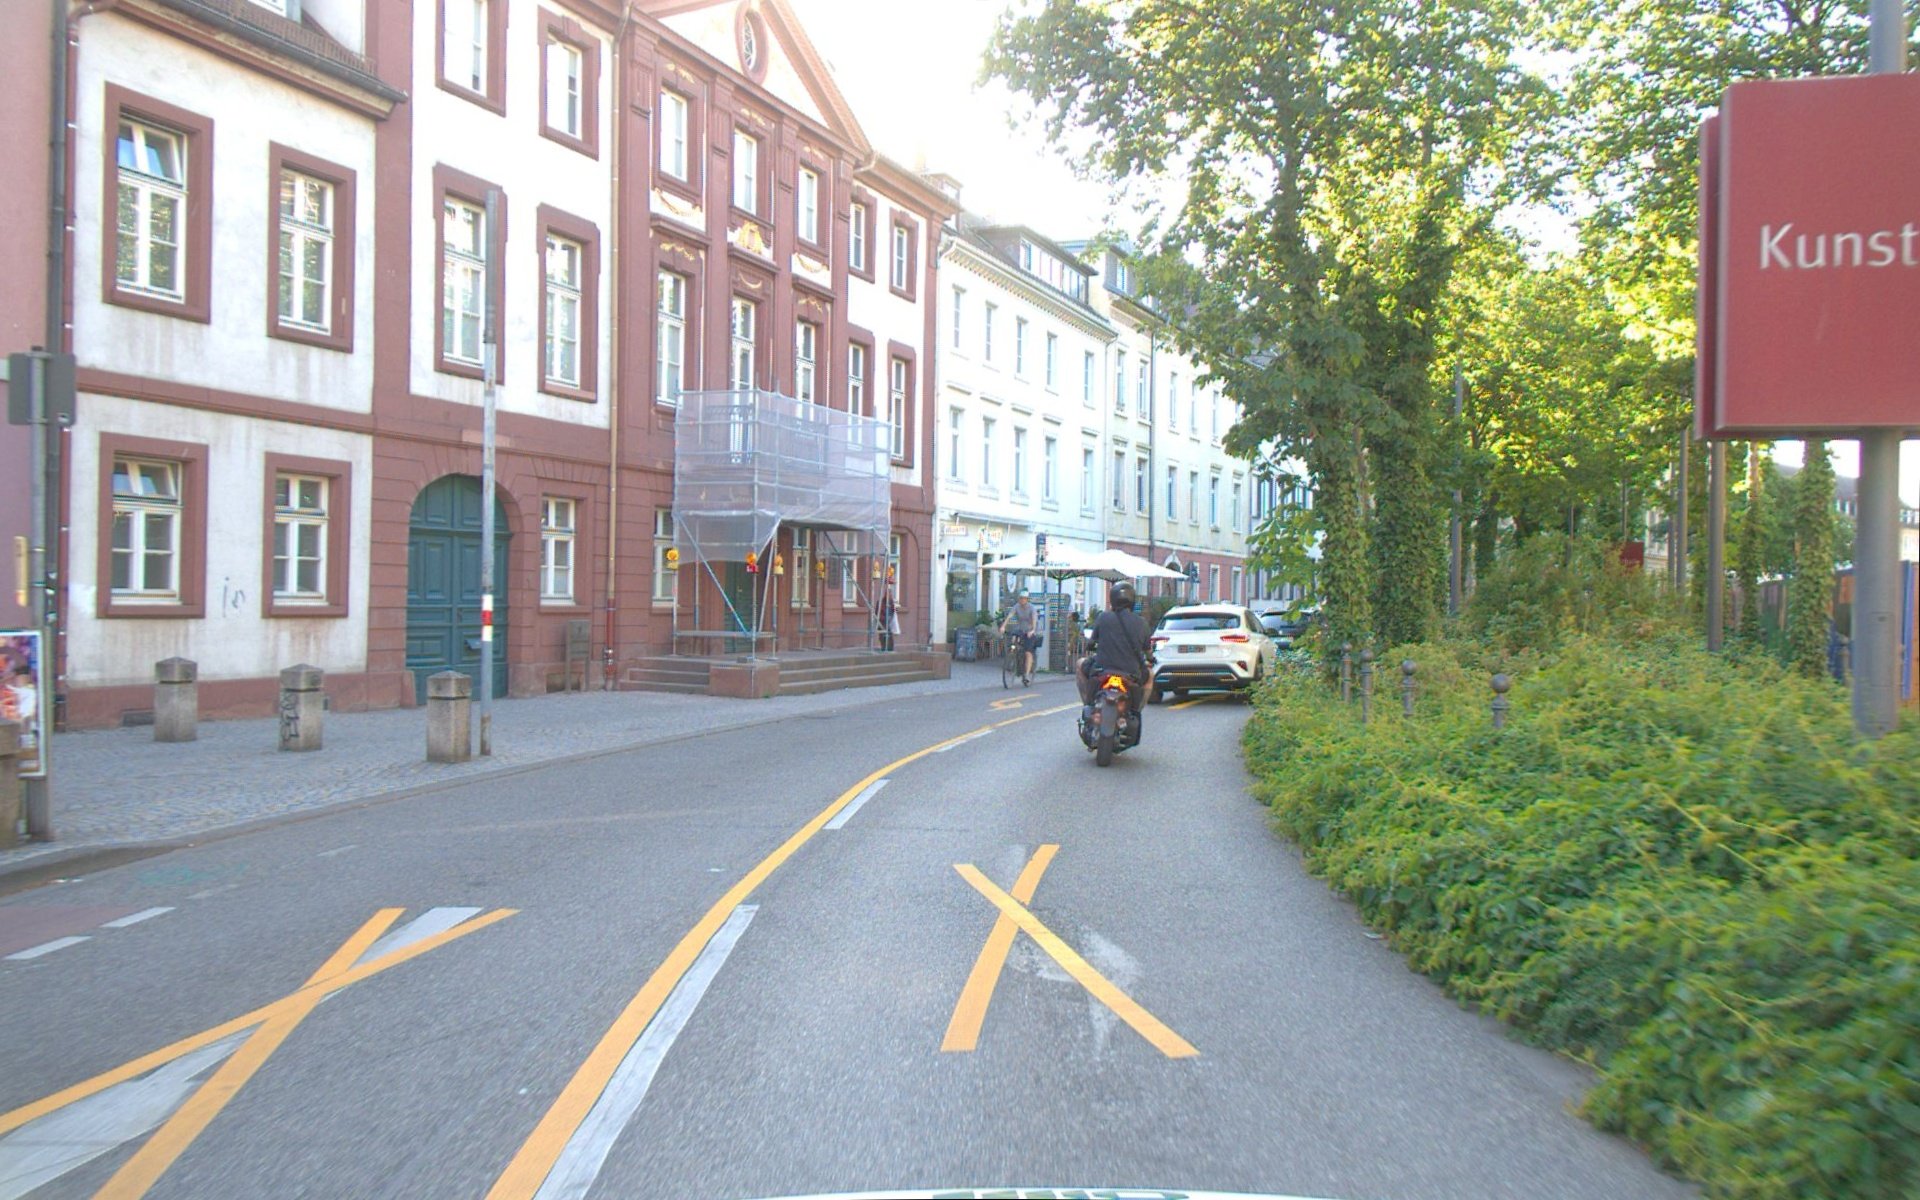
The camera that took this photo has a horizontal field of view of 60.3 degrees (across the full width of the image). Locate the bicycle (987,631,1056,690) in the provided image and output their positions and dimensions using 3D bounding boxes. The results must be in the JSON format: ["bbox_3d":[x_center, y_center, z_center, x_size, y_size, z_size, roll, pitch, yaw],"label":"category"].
[{"bbox_3d":[1.230,1.169,32.520,0.755,1.081,2.078,0,0,20],"label":"bicycle"}]

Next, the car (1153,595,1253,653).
[{"bbox_3d":[7.664,0.723,51.785,1.883,1.709,4.783,0,0,24],"label":"car"}]

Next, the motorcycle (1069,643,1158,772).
[{"bbox_3d":[1.478,0.993,15.828,0.779,1.085,1.726,1,0,6],"label":"motorcycle"}]

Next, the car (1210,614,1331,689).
[{"bbox_3d":[6.939,1.084,36.667,1.803,1.489,4.056,1,0,23],"label":"car"}]

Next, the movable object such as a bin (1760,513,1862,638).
[{"bbox_3d":[33.725,-0.902,65.396,3.245,4.619,7.890,-1,0,30],"label":"movable object such as a bin"}]

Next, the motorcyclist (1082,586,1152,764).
[{"bbox_3d":[1.530,0.708,16.041,0.643,1.679,0.651,0,0,7],"label":"motorcyclist"}]

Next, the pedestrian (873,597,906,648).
[{"bbox_3d":[-1.511,0.470,35.445,0.525,1.071,0.552,1,0,18],"label":"pedestrian"}]

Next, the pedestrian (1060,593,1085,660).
[{"bbox_3d":[3.039,0.708,44.773,0.430,1.806,0.595,0,0,35],"label":"pedestrian"}]

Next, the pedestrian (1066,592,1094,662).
[{"bbox_3d":[3.129,0.700,43.179,0.584,1.806,0.438,0,0,31],"label":"pedestrian"}]

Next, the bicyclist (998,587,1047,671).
[{"bbox_3d":[1.226,0.557,32.442,0.728,1.611,0.795,1,0,19],"label":"bicyclist"}]

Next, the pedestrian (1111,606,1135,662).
[{"bbox_3d":[4.302,0.880,43.635,0.461,1.458,0.501,0,0,27],"label":"pedestrian"}]

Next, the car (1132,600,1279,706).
[{"bbox_3d":[4.011,0.778,26.551,1.811,1.506,4.060,1,0,16],"label":"car"}]

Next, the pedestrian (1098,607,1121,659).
[{"bbox_3d":[4.078,0.896,45.183,0.512,1.415,0.488,0,0,19],"label":"pedestrian"}]
